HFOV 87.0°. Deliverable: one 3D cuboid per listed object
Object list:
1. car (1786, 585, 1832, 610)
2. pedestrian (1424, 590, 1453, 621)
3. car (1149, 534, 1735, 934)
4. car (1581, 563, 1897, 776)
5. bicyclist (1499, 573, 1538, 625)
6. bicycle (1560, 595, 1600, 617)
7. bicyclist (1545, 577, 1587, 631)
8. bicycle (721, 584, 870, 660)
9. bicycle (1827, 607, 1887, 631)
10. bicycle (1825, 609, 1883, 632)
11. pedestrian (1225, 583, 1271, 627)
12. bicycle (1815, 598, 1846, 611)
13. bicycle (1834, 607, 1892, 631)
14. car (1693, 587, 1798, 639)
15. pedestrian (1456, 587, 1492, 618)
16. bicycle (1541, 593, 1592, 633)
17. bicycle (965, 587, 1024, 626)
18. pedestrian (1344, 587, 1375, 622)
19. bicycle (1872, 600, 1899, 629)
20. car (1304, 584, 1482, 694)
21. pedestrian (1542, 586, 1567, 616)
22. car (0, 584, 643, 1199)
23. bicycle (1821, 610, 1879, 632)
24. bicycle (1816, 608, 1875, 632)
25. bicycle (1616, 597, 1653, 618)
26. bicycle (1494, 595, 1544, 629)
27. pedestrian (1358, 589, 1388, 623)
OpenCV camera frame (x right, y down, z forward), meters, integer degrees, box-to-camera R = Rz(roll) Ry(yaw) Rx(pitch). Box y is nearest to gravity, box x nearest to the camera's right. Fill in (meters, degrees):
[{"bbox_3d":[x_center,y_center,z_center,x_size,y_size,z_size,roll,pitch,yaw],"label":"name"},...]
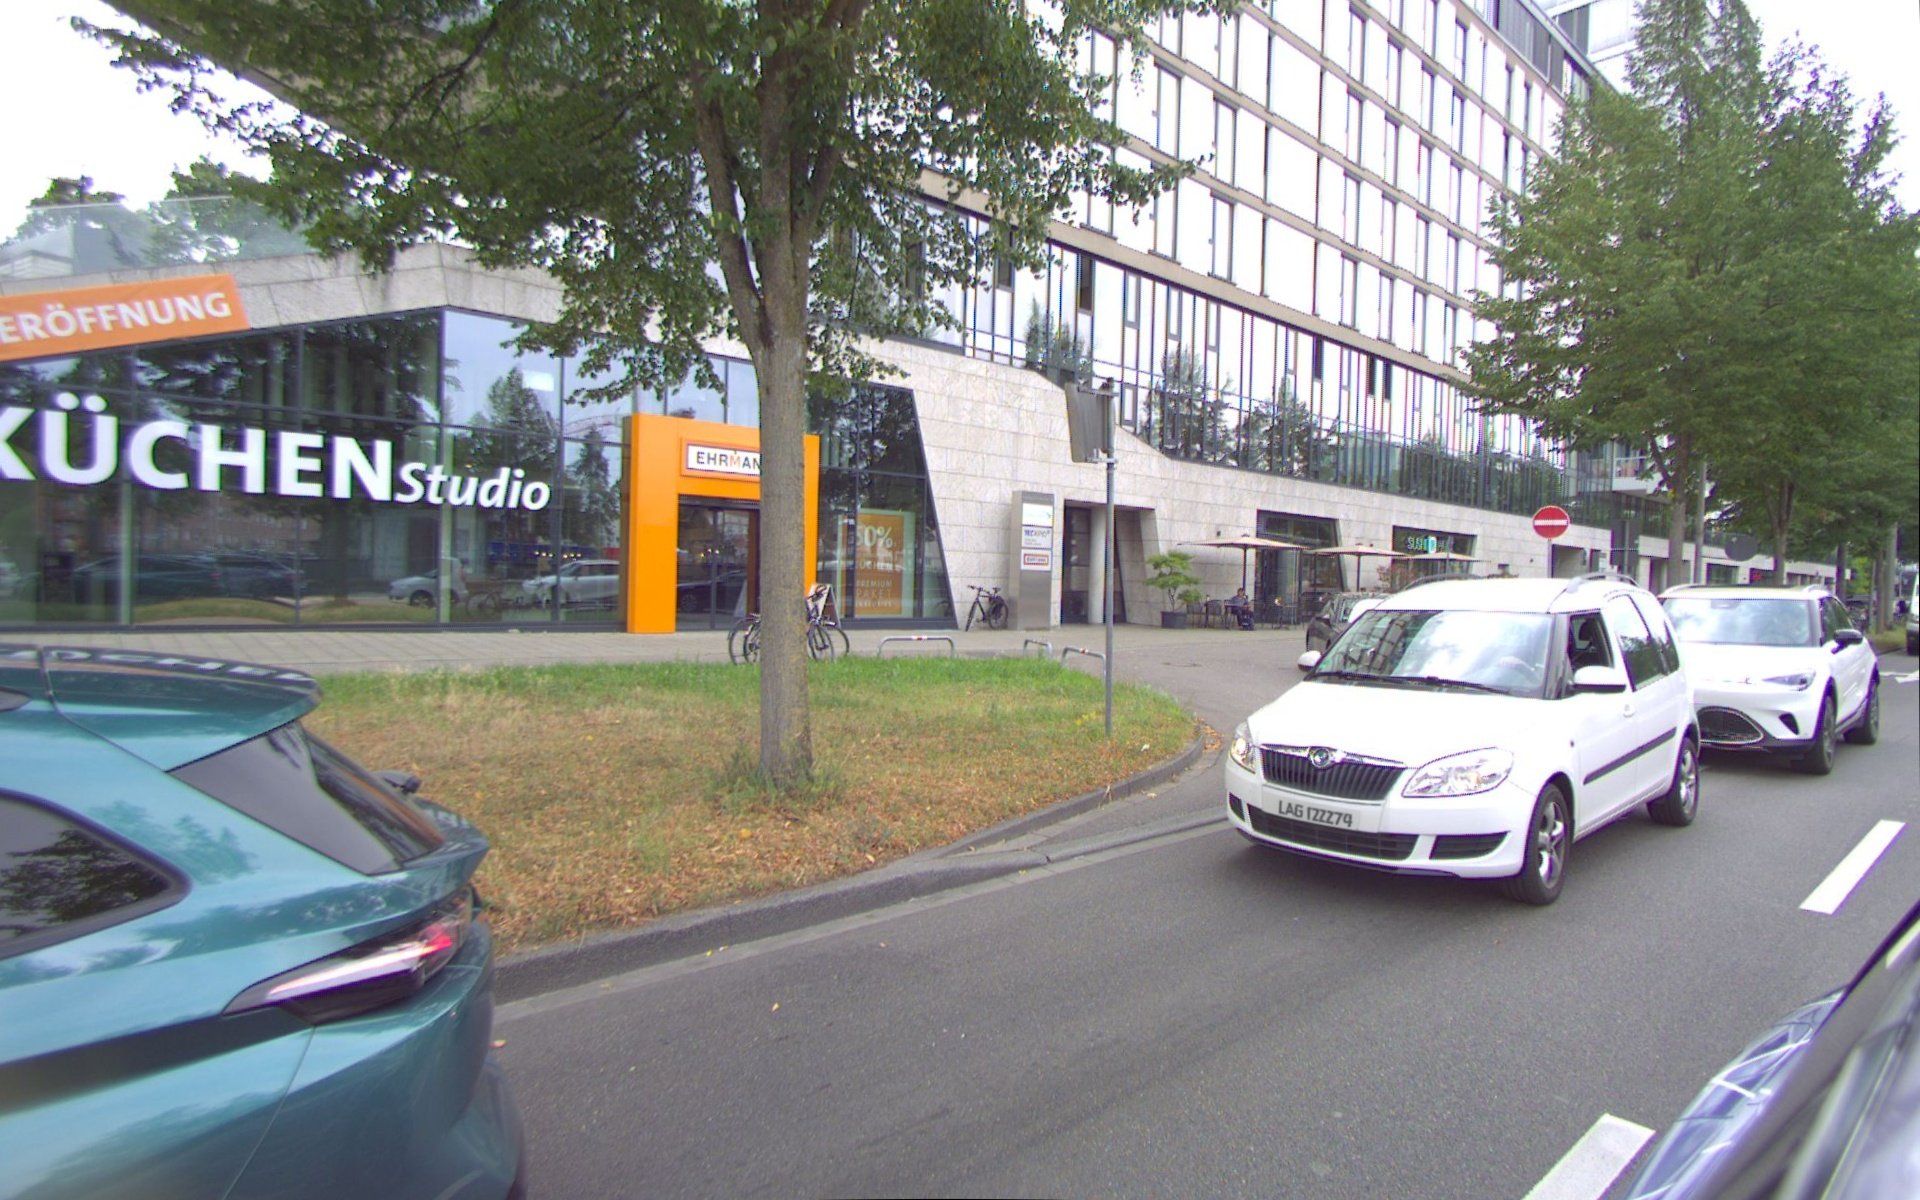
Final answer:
[{"bbox_3d":[61.805,-0.178,73.647,4.166,1.607,1.862,0,4,-41],"label":"car"},{"bbox_3d":[19.085,0.216,40.385,0.743,1.207,0.723,1,1,-19],"label":"pedestrian"},{"bbox_3d":[3.132,0.538,6.208,3.952,1.677,1.782,0,2,-41],"label":"car"},{"bbox_3d":[7.776,0.558,9.975,3.954,1.677,1.781,0,0,-42],"label":"car"},{"bbox_3d":[17.833,-0.051,32.313,0.972,1.601,0.726,0,3,-40],"label":"bicyclist"},{"bbox_3d":[31.220,0.303,50.965,1.584,1.039,0.606,3,2,23],"label":"bicycle"},{"bbox_3d":[18.514,0.115,30.918,0.972,1.601,0.726,0,3,-39],"label":"bicyclist"},{"bbox_3d":[-2.250,0.280,14.068,0.630,0.968,2.074,2,2,44],"label":"bicycle"},{"bbox_3d":[40.446,0.866,45.654,0.693,1.079,1.931,1,-2,-43],"label":"bicycle"},{"bbox_3d":[39.929,0.922,45.211,0.602,0.963,1.862,1,-2,-43],"label":"bicycle"},{"bbox_3d":[8.486,0.142,29.789,0.932,1.243,0.900,1,1,-36],"label":"pedestrian"},{"bbox_3d":[85.940,0.483,99.920,2.231,1.191,0.961,2,1,42],"label":"bicycle"},{"bbox_3d":[41.562,0.890,46.601,1.927,1.079,0.536,-2,-2,41],"label":"bicycle"},{"bbox_3d":[26.020,0.414,33.481,4.514,1.571,1.941,1,1,-42],"label":"car"},{"bbox_3d":[20.678,0.092,40.739,1.083,1.207,0.776,1,1,-26],"label":"pedestrian"},{"bbox_3d":[18.596,0.413,31.019,1.971,1.157,0.675,1,2,-40],"label":"bicycle"},{"bbox_3d":[0.865,0.156,25.113,1.467,0.921,0.519,0,1,-41],"label":"bicycle"},{"bbox_3d":[14.324,0.169,36.288,0.746,1.207,0.720,1,1,-42],"label":"pedestrian"},{"bbox_3d":[37.328,0.590,40.833,0.709,1.130,2.170,-2,-2,41],"label":"bicycle"},{"bbox_3d":[6.992,0.503,16.864,1.919,1.494,4.850,2,1,14],"label":"car"},{"bbox_3d":[28.412,0.042,48.348,0.707,1.424,0.759,1,1,-33],"label":"pedestrian"},{"bbox_3d":[-2.657,0.691,0.822,4.239,1.450,1.789,0,0,-44],"label":"car"},{"bbox_3d":[39.361,0.926,44.754,0.642,0.963,1.862,1,-2,-43],"label":"bicycle"},{"bbox_3d":[38.330,0.861,43.822,0.564,1.008,1.862,1,-2,-43],"label":"bicycle"},{"bbox_3d":[36.776,0.391,55.186,0.524,1.039,1.599,0,2,-43],"label":"bicycle"},{"bbox_3d":[17.872,0.378,32.359,1.970,1.055,0.675,1,1,-39],"label":"bicycle"},{"bbox_3d":[15.049,0.215,36.916,0.745,1.207,0.720,1,1,-39],"label":"pedestrian"}]
